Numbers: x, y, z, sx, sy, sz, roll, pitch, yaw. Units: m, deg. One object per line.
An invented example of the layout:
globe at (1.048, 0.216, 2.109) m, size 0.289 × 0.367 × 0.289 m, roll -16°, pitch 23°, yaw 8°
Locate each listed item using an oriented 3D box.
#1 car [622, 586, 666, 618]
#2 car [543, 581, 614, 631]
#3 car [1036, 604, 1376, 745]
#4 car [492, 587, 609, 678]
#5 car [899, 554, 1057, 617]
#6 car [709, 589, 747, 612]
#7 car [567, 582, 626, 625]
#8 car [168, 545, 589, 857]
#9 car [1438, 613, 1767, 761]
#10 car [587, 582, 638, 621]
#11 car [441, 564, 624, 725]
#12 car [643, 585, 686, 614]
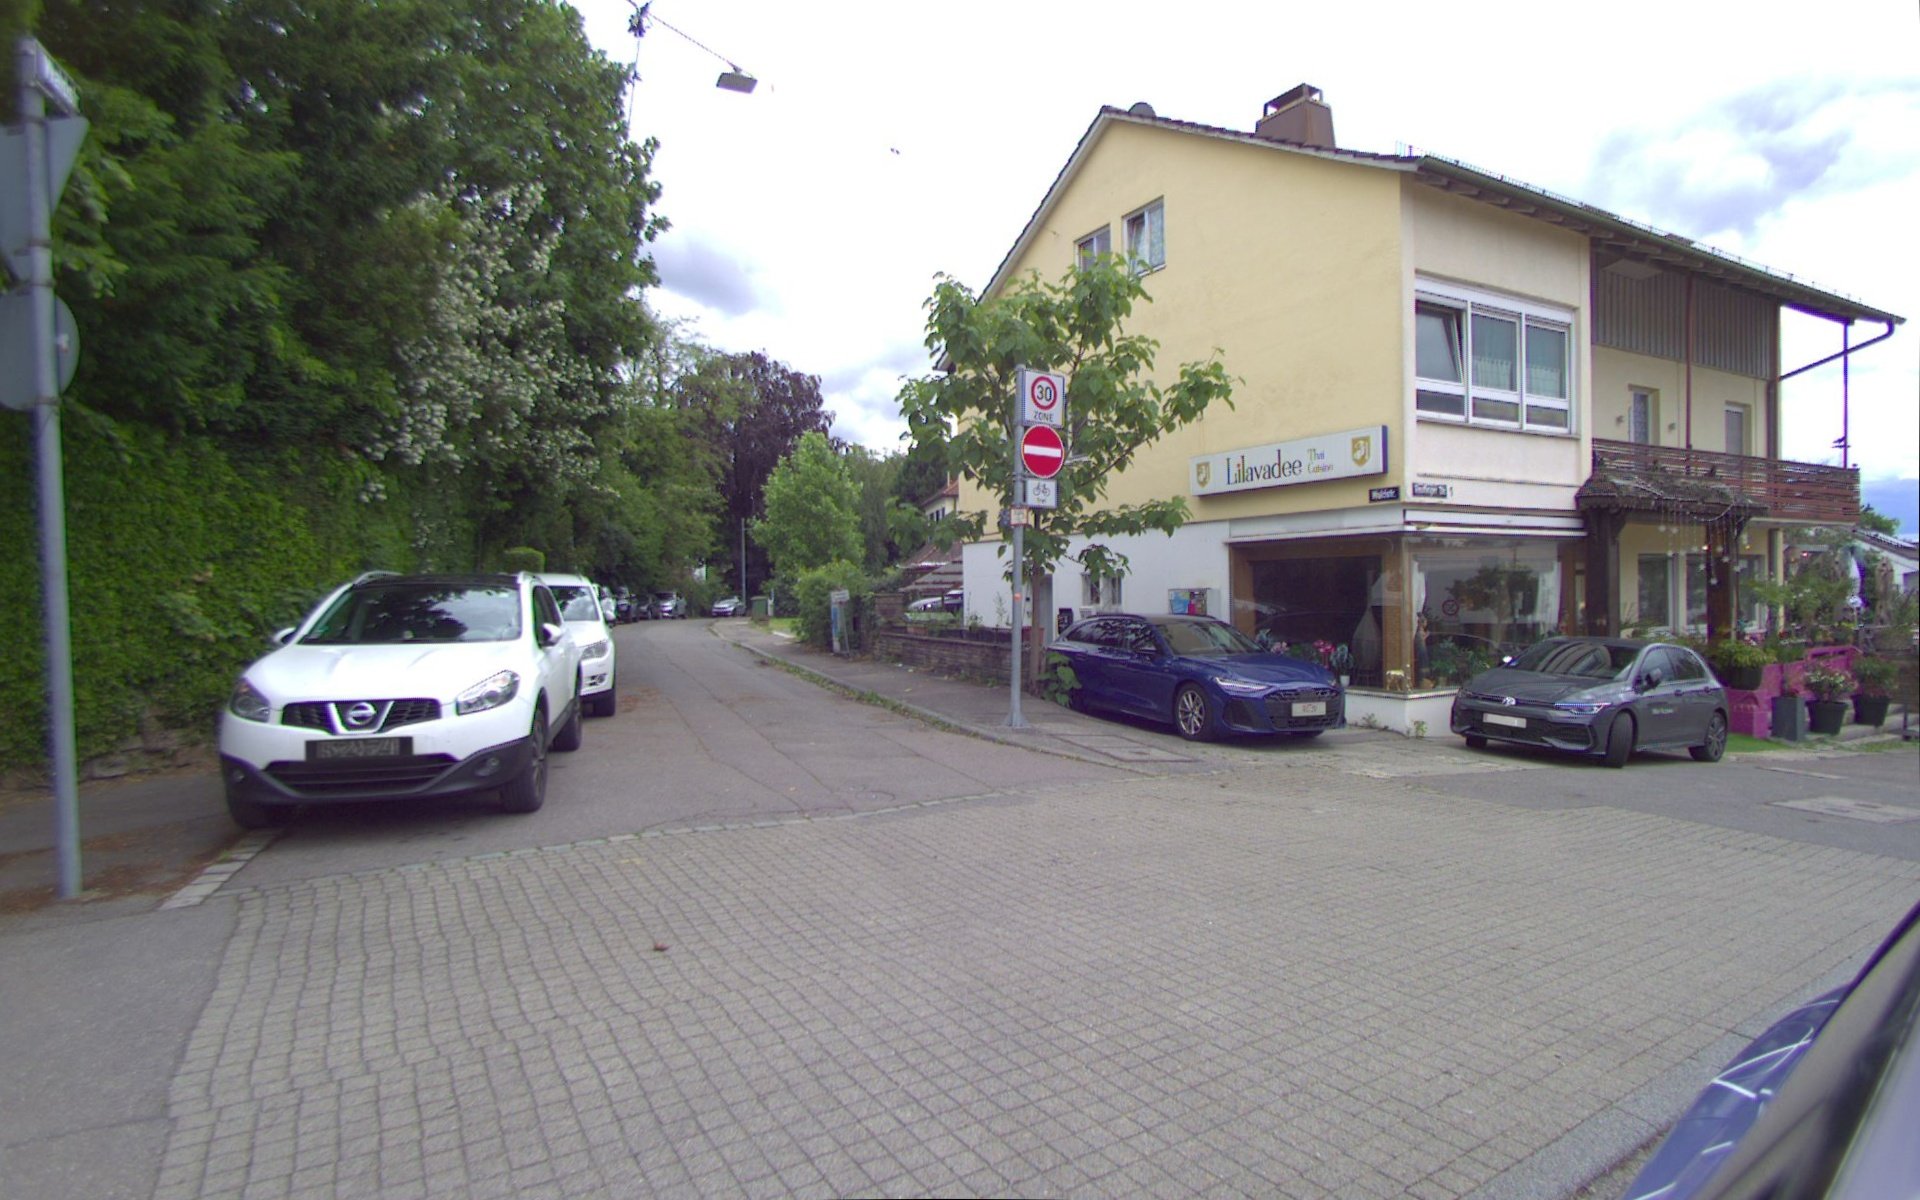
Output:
car at (-15.930, 0.066, 51.116) m, size 1.542 × 1.502 × 3.479 m, roll -1°, pitch 1°, yaw -8°
car at (-12.229, 0.132, 32.596) m, size 1.542 × 1.502 × 3.745 m, roll -1°, pitch 1°, yaw -11°
car at (2.905, 0.822, 13.216) m, size 1.761 × 1.405 × 4.758 m, roll 2°, pitch 0°, yaw -23°
car at (-7.406, 0.496, 18.543) m, size 1.761 × 1.441 × 4.080 m, roll -1°, pitch 1°, yaw -20°
car at (0.523, -0.398, 30.083) m, size 4.235 × 1.480 × 1.802 m, roll 4°, pitch -2°, yaw -19°
car at (-16.363, 0.017, 71.461) m, size 1.547 × 1.502 × 3.468 m, roll 0°, pitch 1°, yaw 7°
car at (-13.435, 0.097, 37.550) m, size 1.542 × 1.502 × 3.481 m, roll -1°, pitch 1°, yaw -11°
car at (-3.876, 0.503, 7.559) m, size 1.761 × 1.643 × 4.144 m, roll -1°, pitch 1°, yaw -16°
car at (7.933, 1.058, 12.378) m, size 4.242 × 1.480 × 1.800 m, roll 5°, pitch -2°, yaw -34°
car at (-14.220, 0.037, 41.530) m, size 1.542 × 1.502 × 3.481 m, roll -1°, pitch 1°, yaw -11°
car at (-5.187, 0.429, 12.614) m, size 1.761 × 1.643 × 4.080 m, roll -1°, pitch 1°, yaw -20°
car at (-16.254, -0.050, 55.798) m, size 1.543 × 1.502 × 3.476 m, roll 0°, pitch 1°, yaw -3°
